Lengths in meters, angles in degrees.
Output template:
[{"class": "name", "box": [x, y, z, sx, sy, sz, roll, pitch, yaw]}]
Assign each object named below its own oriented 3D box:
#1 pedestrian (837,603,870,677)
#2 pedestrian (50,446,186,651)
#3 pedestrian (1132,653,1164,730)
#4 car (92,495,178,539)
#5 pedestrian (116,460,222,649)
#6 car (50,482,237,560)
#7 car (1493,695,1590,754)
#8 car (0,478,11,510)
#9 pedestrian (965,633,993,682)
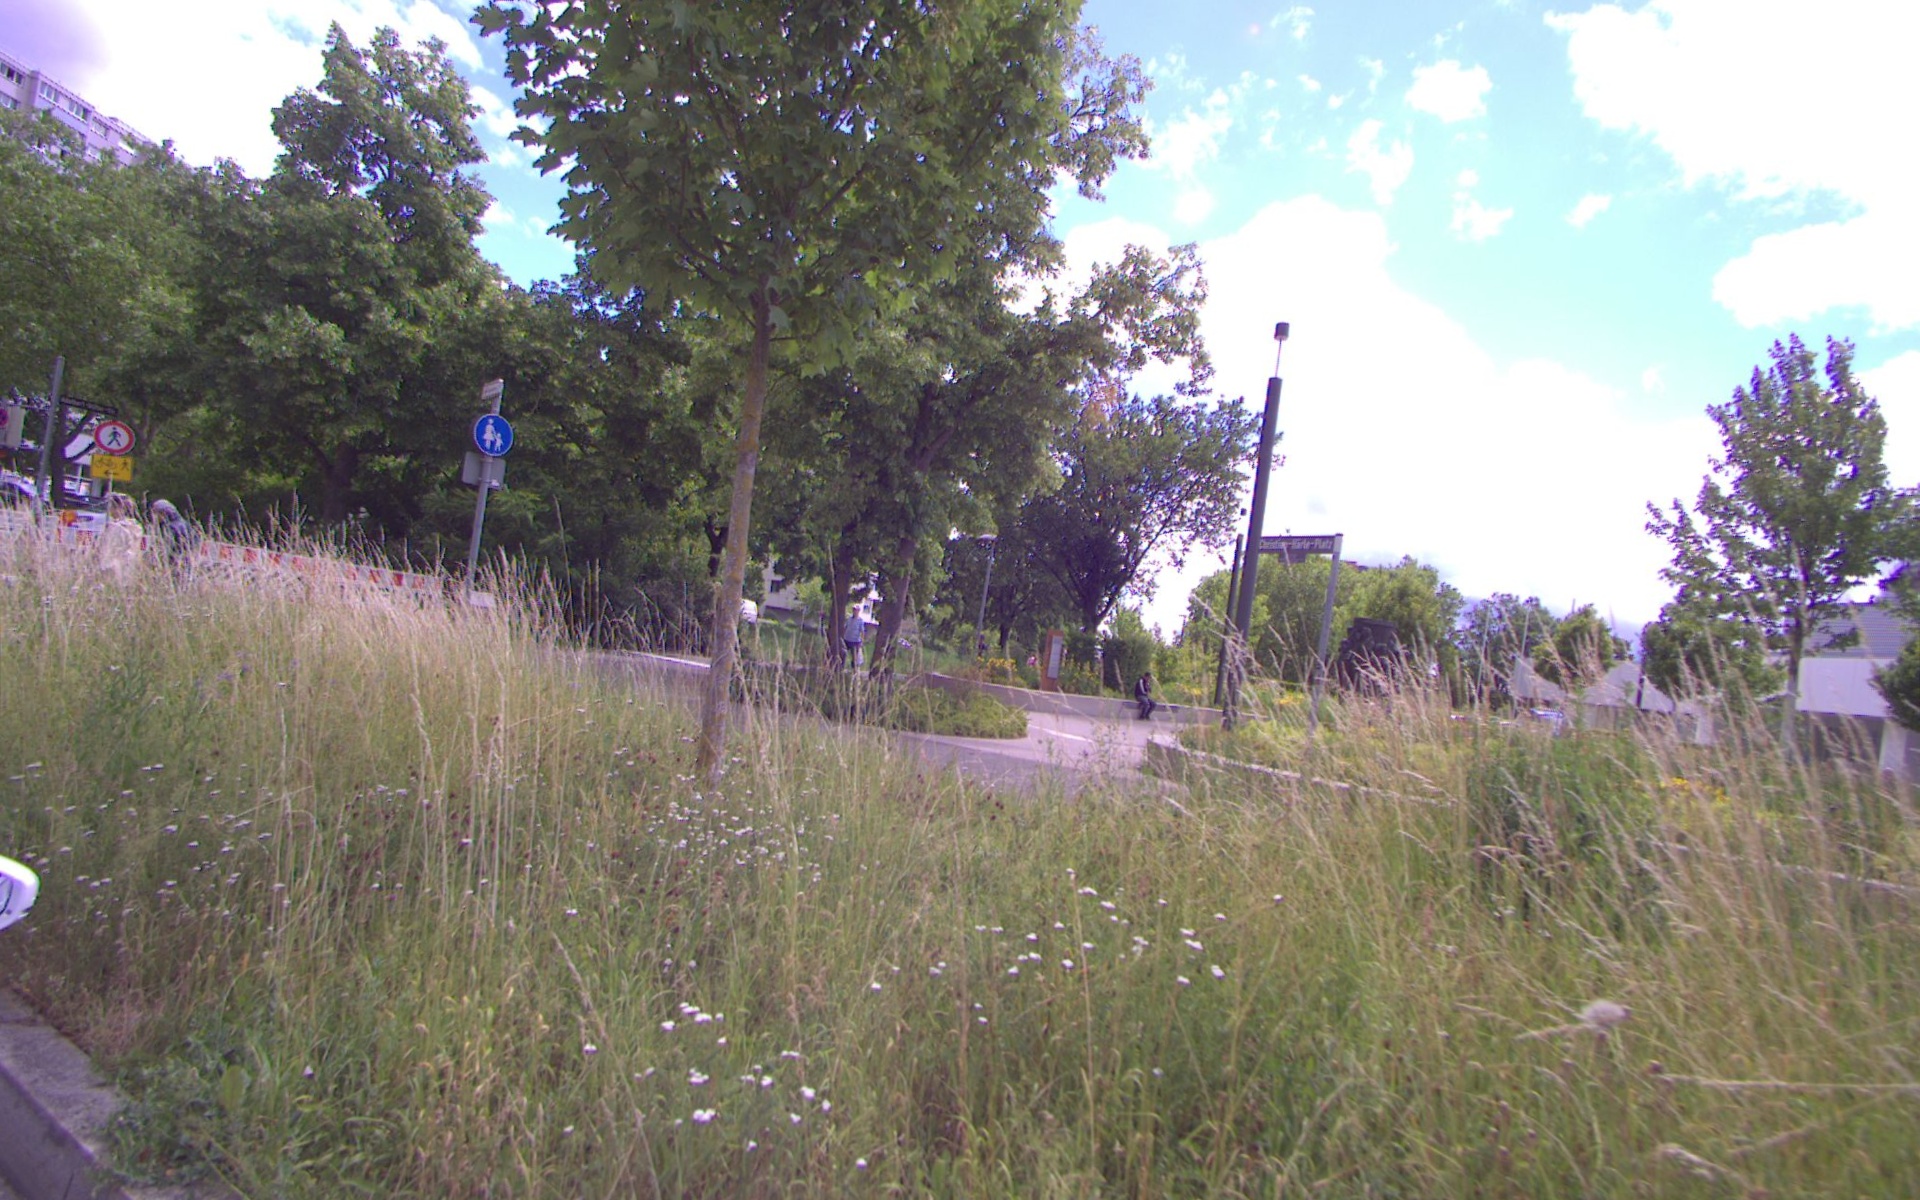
[{"class": "pedestrian", "box": [-2.630, 0.985, 24.947, 0.567, 1.763, 0.487, 8, -1, -5]}, {"class": "pedestrian", "box": [-8.874, -0.526, 10.619, 0.623, 2.037, 0.674, 7, -1, 22]}, {"class": "pedestrian", "box": [5.029, 2.454, 26.901, 0.399, 1.973, 0.577, 8, -1, 32]}, {"class": "car", "box": [-50.386, -5.038, 61.546, 1.965, 1.976, 3.998, 9, -2, -6]}, {"class": "pedestrian", "box": [-8.902, -0.499, 11.332, 0.483, 2.037, 0.563, 7, -1, 22]}, {"class": "car", "box": [-25.484, -2.432, 31.522, 1.966, 1.625, 3.997, 8, -2, 31]}, {"class": "car", "box": [32.073, 6.833, 55.696, 2.406, 2.502, 4.792, 8, -2, 2]}, {"class": "car", "box": [-55.878, -6.285, 56.196, 1.965, 1.803, 3.998, 9, -2, -6]}, {"class": "pedestrian", "box": [0.675, 1.999, 35.024, 0.636, 1.598, 0.488, 8, -1, 18]}]
